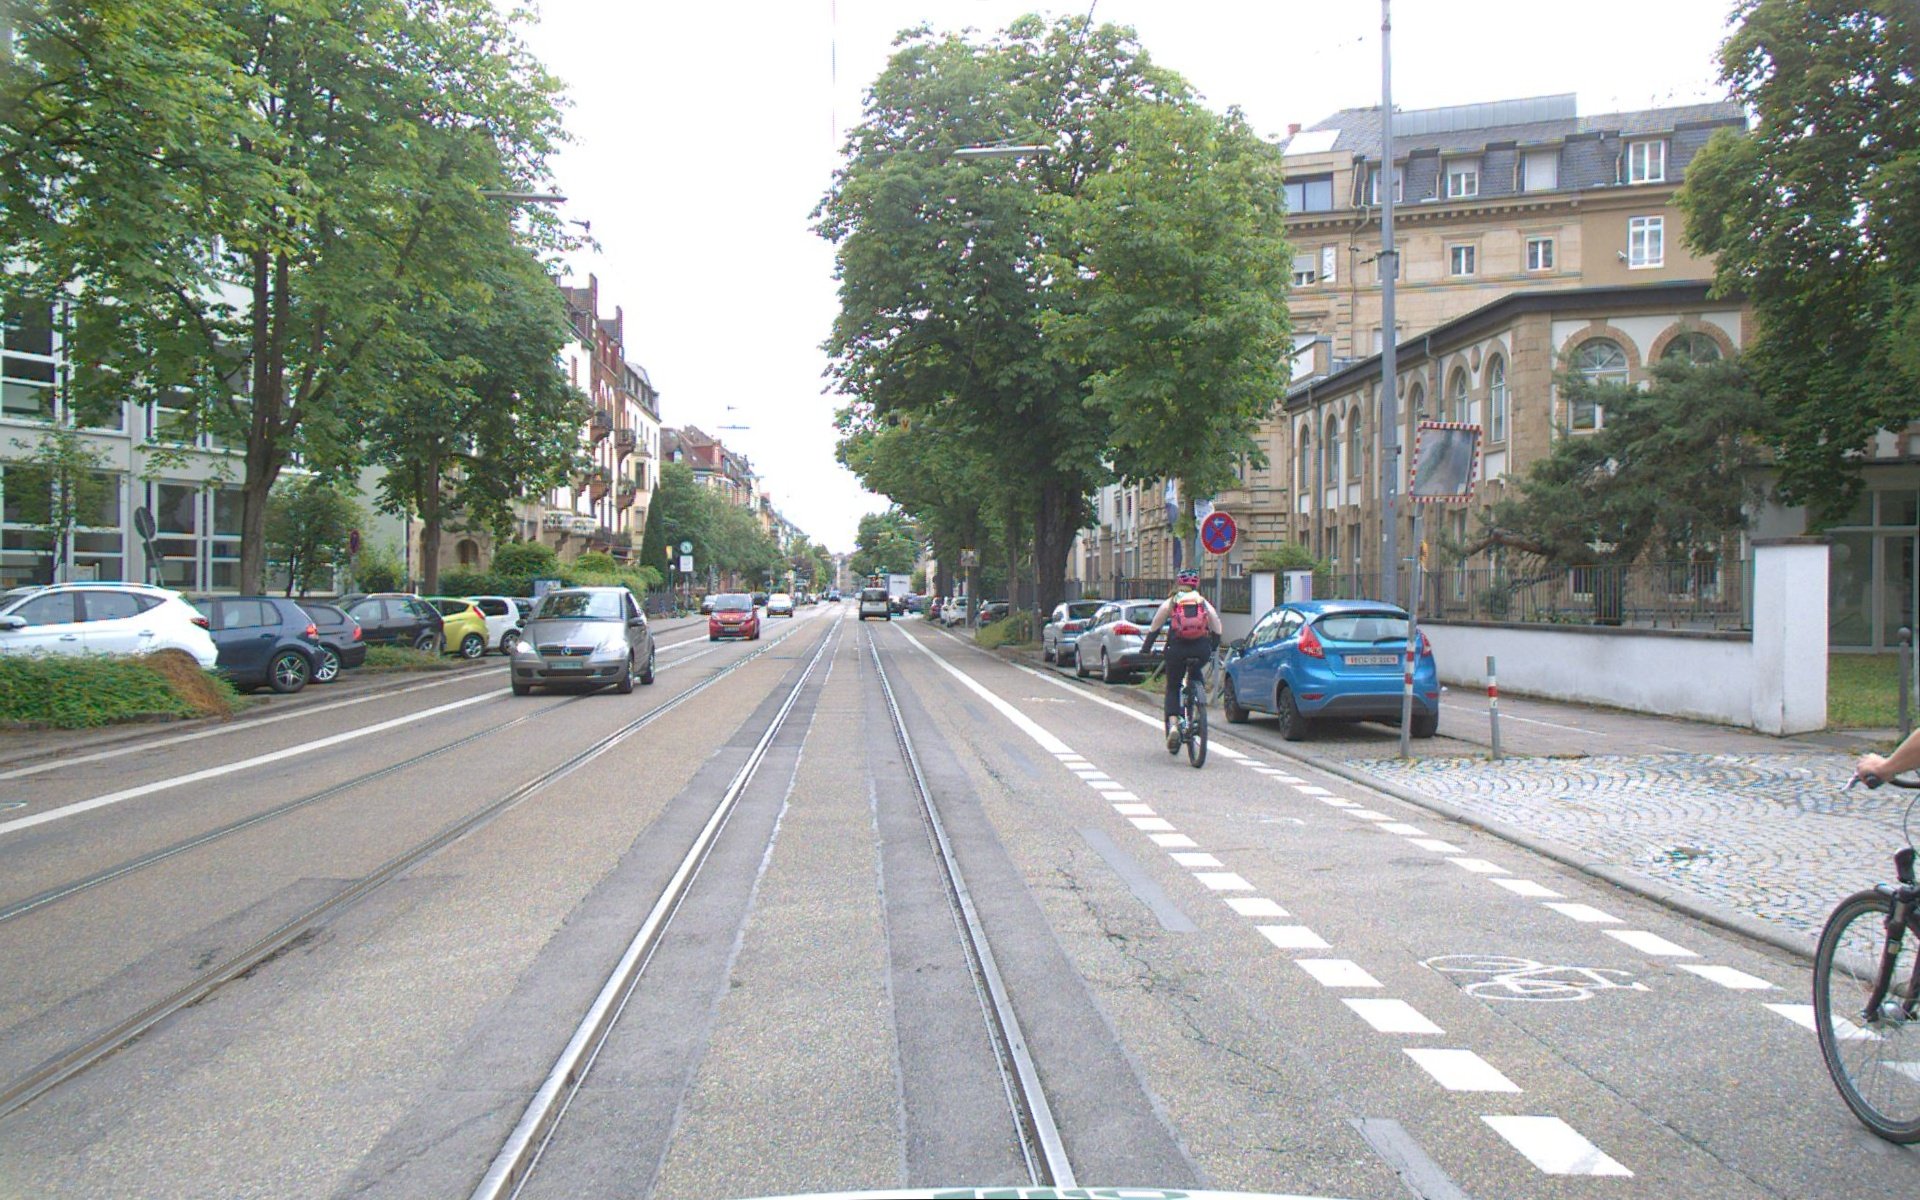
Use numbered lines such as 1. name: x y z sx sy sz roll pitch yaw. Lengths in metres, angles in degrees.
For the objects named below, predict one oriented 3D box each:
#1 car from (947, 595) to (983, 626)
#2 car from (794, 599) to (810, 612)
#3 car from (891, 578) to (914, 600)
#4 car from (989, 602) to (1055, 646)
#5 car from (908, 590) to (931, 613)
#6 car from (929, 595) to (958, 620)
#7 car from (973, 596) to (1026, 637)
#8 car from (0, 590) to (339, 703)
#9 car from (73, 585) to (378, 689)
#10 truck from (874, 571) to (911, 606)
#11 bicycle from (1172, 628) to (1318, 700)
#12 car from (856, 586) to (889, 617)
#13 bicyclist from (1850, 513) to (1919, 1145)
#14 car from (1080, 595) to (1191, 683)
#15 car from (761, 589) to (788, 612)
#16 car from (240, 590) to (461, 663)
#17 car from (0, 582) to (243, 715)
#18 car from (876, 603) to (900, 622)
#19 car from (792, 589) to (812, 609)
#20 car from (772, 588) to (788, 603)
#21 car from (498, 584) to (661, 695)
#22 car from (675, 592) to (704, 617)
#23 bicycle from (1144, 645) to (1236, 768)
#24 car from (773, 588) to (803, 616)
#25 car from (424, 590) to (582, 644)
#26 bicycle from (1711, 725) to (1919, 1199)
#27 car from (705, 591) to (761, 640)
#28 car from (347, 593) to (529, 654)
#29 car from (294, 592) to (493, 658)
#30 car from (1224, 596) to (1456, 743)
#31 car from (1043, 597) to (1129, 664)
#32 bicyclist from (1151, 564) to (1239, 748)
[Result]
1. car: 0.208 0.505 79.238 1.633 1.423 3.660 0 0 -1
2. car: -20.910 0.740 218.793 1.736 1.672 3.566 0 0 0
3. car: -5.418 -1.030 156.506 1.955 2.049 3.996 0 0 -5
4. car: 1.927 0.735 52.086 1.835 1.273 3.999 0 0 -1
5. car: -3.422 0.112 139.226 1.953 1.825 3.998 0 0 -2
6. car: -1.010 0.441 99.276 1.734 1.423 3.794 0 0 -1
7. car: 1.404 0.577 60.303 1.755 1.423 3.794 0 0 -1
8. car: -11.563 0.644 24.258 1.669 1.479 4.322 1 0 41
9. car: -12.080 0.588 27.417 1.669 1.562 4.322 1 0 41
10. truck: -8.053 -1.360 195.915 3.735 4.100 10.203 0 0 -7
11. bicycle: 4.037 0.897 23.476 1.974 0.973 0.533 0 0 -8
12. car: -5.065 0.108 95.923 1.775 1.738 3.698 1 0 -1
13. bicyclist: 2.757 0.582 4.012 0.648 1.597 0.986 1 0 0
14. car: 3.197 0.671 30.669 1.446 1.507 3.562 1 0 -4
15. car: -12.045 0.044 107.385 1.707 1.454 3.994 0 0 -6
16. car: -12.445 0.532 33.953 1.669 1.375 3.946 1 0 41
17. car: -11.594 0.574 20.976 1.667 1.583 4.328 1 0 37
18. car: -5.409 0.928 125.189 1.734 1.423 3.794 0 0 -1
19. car: -18.303 -0.175 192.034 2.161 2.295 3.997 0 0 -4
20. car: -25.735 -0.602 236.493 1.783 2.103 3.879 0 0 0
21. car: -5.805 0.553 25.650 1.863 1.557 3.751 -1 0 -4
22. car: -24.917 0.430 152.293 2.134 2.246 4.216 0 0 -3
23. bicycle: 2.114 0.955 15.419 0.480 0.997 2.056 1 0 -2
24. car: -15.349 0.155 147.779 2.160 2.459 4.000 0 0 0
25. car: -12.527 0.473 45.479 1.669 1.375 3.946 1 0 41
26. bicycle: 2.759 0.988 4.378 0.650 1.136 1.866 2 0 0
27. car: -7.460 0.497 54.562 1.644 1.549 2.779 1 0 -5
28. car: -12.673 0.563 40.289 1.669 1.375 3.946 1 0 41
29. car: -12.700 0.546 37.241 1.669 1.375 3.946 1 0 41
30. car: 4.199 0.707 18.761 1.641 1.486 3.430 0 0 -4
31. car: 2.828 0.675 37.780 1.446 1.454 3.562 1 0 -4
32. bicyclist: 2.153 0.497 15.222 0.644 1.638 0.919 0 0 -2
